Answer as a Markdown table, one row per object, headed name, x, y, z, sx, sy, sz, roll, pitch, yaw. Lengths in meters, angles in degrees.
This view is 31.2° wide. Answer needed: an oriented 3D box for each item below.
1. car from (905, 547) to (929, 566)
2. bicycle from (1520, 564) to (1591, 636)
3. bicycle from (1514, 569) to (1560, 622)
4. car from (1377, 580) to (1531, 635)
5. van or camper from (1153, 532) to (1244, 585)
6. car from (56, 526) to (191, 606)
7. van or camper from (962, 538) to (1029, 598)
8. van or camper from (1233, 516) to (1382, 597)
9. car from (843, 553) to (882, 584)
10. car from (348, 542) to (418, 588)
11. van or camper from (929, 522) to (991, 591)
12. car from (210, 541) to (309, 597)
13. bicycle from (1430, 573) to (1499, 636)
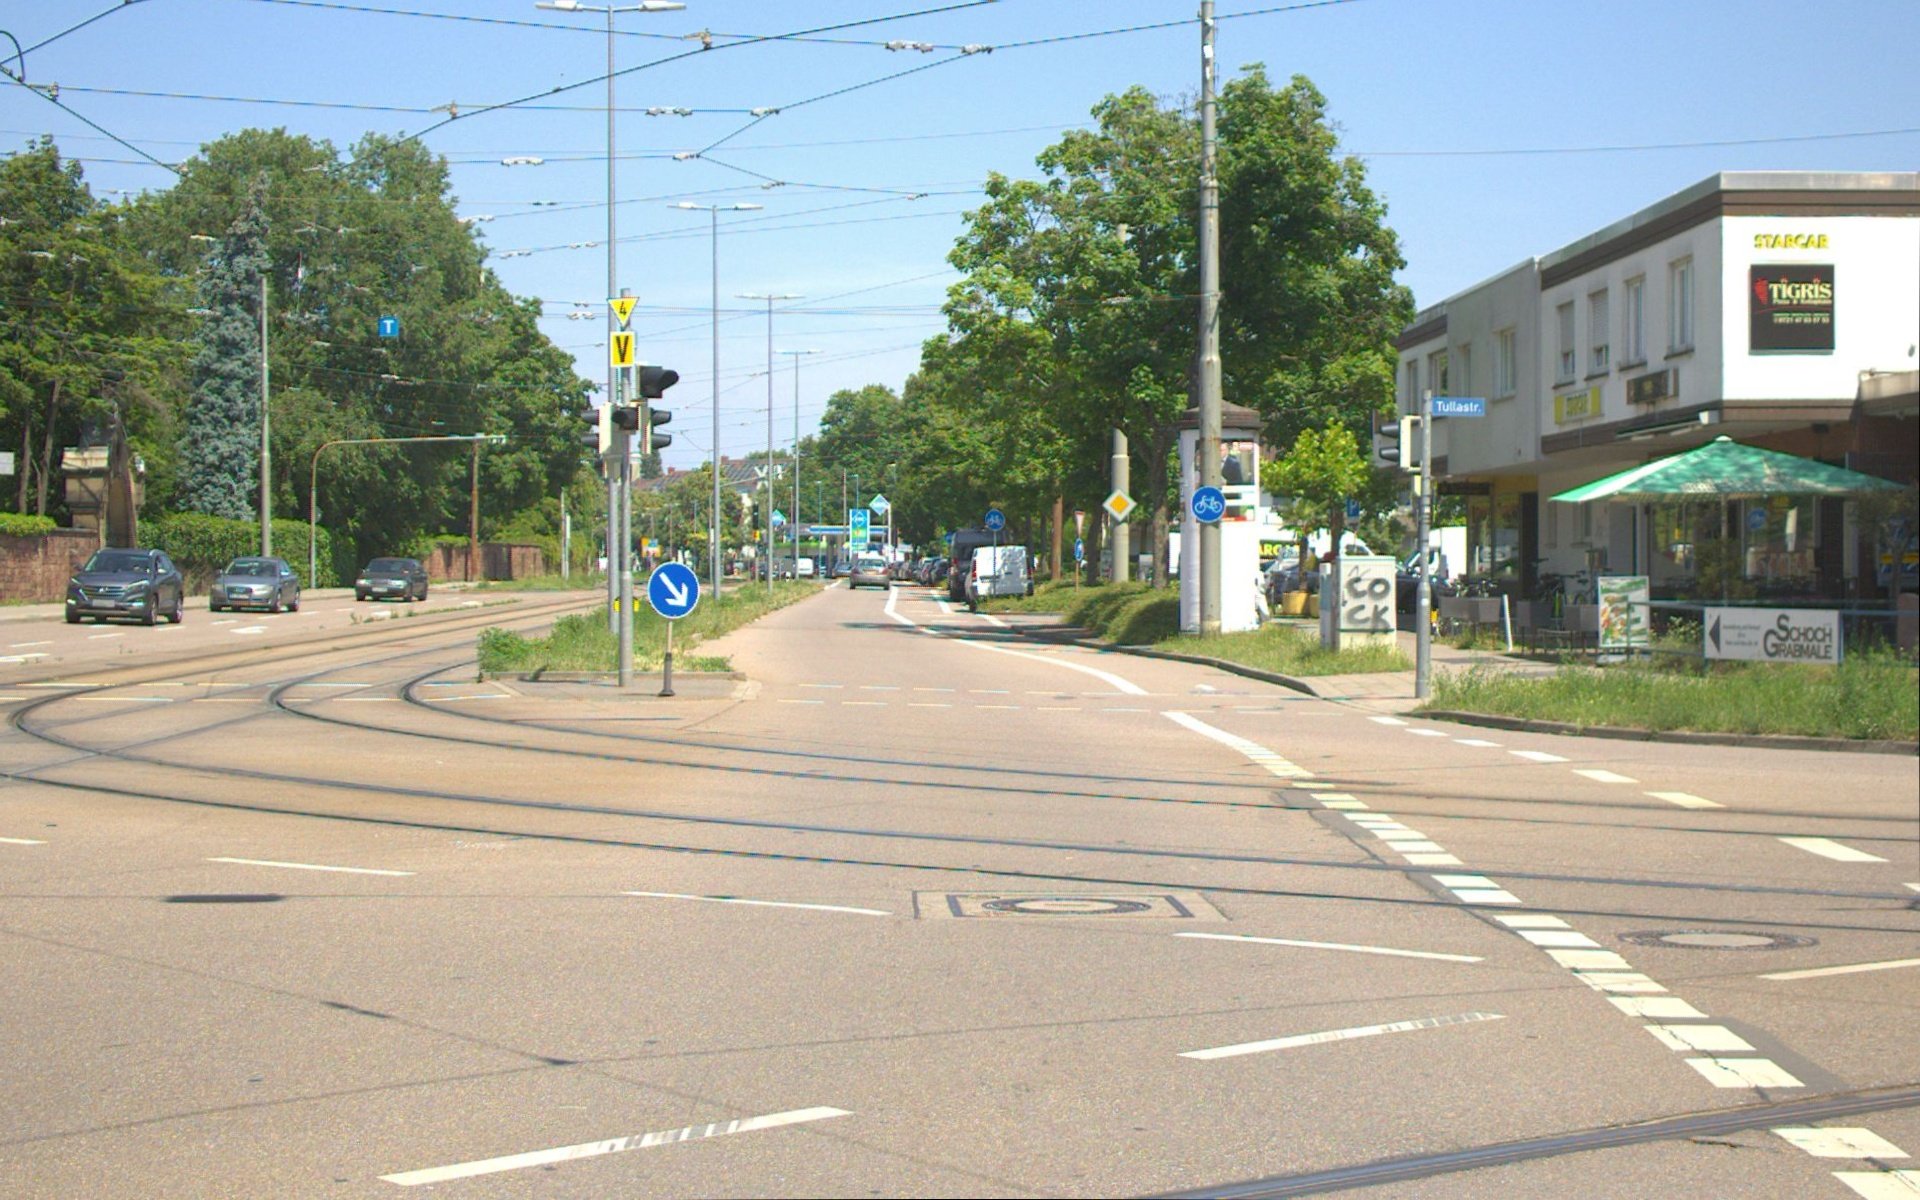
| name | x | y | z | sx | sy | sz | roll | pitch | yaw |
| --- | --- | --- | --- | --- | --- | --- | --- | --- | --- |
| car | -3.012 | -3.000 | 238.752 | 1.523 | 1.292 | 3.493 | 0 | 1 | -3 |
| bicycle | 9.912 | -0.011 | 57.281 | 0.989 | 1.160 | 2.636 | 1 | 1 | 6 |
| bicycle | 12.006 | -0.102 | 71.620 | 0.507 | 1.061 | 1.865 | 0 | 1 | -4 |
| car | 12.598 | 0.195 | 87.728 | 3.606 | 1.346 | 1.491 | 0 | 1 | -7 |
| van or camper | 9.802 | -1.698 | 141.389 | 3.557 | 2.138 | 1.603 | 0 | 1 | -2 |
| car | -18.172 | -0.767 | 74.849 | 1.820 | 1.597 | 4.520 | 0 | 2 | 0 |
| van or camper | 1.047 | -0.980 | 103.511 | 1.922 | 1.766 | 4.000 | 0 | 1 | 0 |
| van or camper | 11.786 | -1.475 | 116.812 | 4.756 | 2.662 | 2.136 | 0 | 1 | -2 |
| car | -4.412 | -1.435 | 154.936 | 1.636 | 1.346 | 3.842 | 0 | 1 | -3 |
| car | -18.771 | -1.153 | 111.962 | 1.641 | 1.395 | 4.116 | 2 | 1 | -2 |
| van or camper | -0.011 | -1.596 | 125.808 | 1.993 | 2.456 | 4.001 | 0 | 1 | -3 |
| car | -18.299 | -0.813 | 89.908 | 1.641 | 1.416 | 4.167 | 1 | 1 | 1 |
| bicycle | 8.483 | 0.069 | 57.890 | 1.034 | 1.011 | 2.636 | 1 | 1 | 6 |
